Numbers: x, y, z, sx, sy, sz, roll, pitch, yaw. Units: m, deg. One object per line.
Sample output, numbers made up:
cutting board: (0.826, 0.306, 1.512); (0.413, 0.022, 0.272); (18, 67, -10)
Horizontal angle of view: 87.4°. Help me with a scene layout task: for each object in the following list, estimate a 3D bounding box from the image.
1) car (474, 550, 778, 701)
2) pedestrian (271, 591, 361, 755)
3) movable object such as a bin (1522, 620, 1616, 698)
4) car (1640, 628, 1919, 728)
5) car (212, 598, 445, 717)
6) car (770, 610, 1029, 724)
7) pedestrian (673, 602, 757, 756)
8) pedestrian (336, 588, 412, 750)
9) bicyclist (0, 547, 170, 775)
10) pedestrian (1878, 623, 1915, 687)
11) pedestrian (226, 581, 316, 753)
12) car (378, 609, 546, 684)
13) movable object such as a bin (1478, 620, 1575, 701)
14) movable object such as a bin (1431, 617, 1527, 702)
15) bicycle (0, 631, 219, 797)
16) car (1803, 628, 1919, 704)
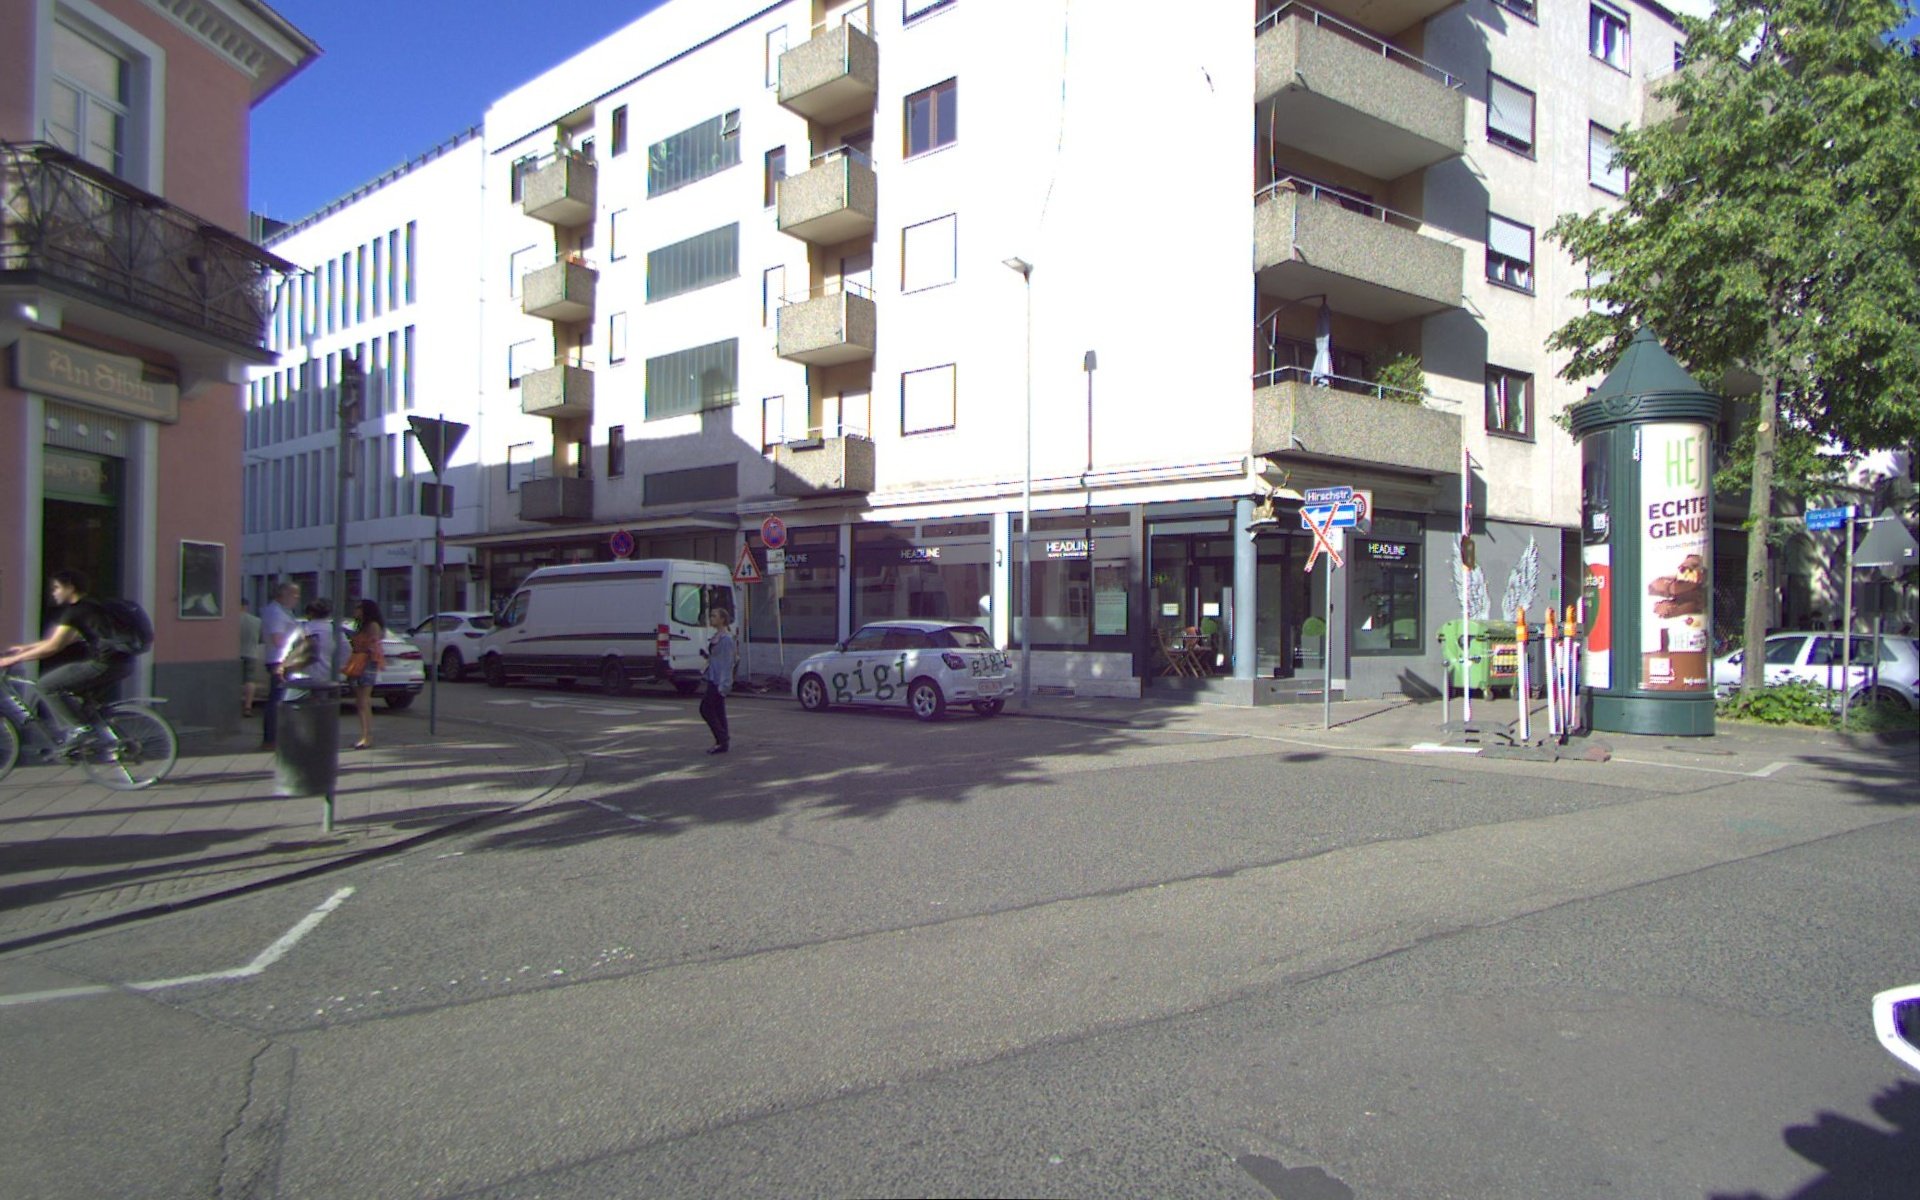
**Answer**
car: (-7.211, 0.532, 21.401); (6.391, 2.754, 2.900); (-1, -2, 35)
pedestrian: (-6.891, 0.767, 10.774); (0.646, 1.689, 0.654); (1, -1, -19)
movable object such as a bin: (12.296, 1.171, 20.287); (1.300, 1.504, 1.165); (1, -1, -32)
car: (13.737, 1.183, 16.378); (1.977, 1.408, 3.967); (1, -2, -31)
car: (-10.421, 0.877, 16.499); (3.937, 1.718, 1.992); (-1, -2, 37)
car: (-1.042, 1.026, 16.410); (3.939, 1.632, 1.991); (-1, -2, 39)
pedestrian: (-2.781, 0.870, 11.393); (0.683, 1.664, 0.766); (1, -1, -36)
pedestrian: (-6.710, 0.768, 11.493); (0.651, 1.783, 0.649); (1, -1, -38)
bicyclist: (-7.156, 0.475, 7.991); (1.140, 1.715, 0.718); (2, -2, -22)
pedestrian: (24.923, 1.448, 26.734); (0.656, 1.671, 0.544); (1, -1, -28)
pedestrian: (-7.444, 0.705, 10.856); (0.646, 1.783, 0.654); (-1, -1, 42)
car: (-12.410, 1.110, 24.992); (3.931, 1.718, 1.995); (-1, -1, 33)
movable object such as a bin: (10.943, 1.139, 19.408); (1.300, 1.504, 1.165); (1, -1, -32)
movable object such as a bin: (9.672, 1.085, 18.734); (1.222, 1.504, 1.134); (1, -1, -32)
bicycle: (-7.230, 0.876, 7.961); (2.006, 1.236, 0.718); (2, -2, -22)
car: (18.813, 1.246, 19.016); (1.977, 1.408, 3.967); (1, -2, -31)
